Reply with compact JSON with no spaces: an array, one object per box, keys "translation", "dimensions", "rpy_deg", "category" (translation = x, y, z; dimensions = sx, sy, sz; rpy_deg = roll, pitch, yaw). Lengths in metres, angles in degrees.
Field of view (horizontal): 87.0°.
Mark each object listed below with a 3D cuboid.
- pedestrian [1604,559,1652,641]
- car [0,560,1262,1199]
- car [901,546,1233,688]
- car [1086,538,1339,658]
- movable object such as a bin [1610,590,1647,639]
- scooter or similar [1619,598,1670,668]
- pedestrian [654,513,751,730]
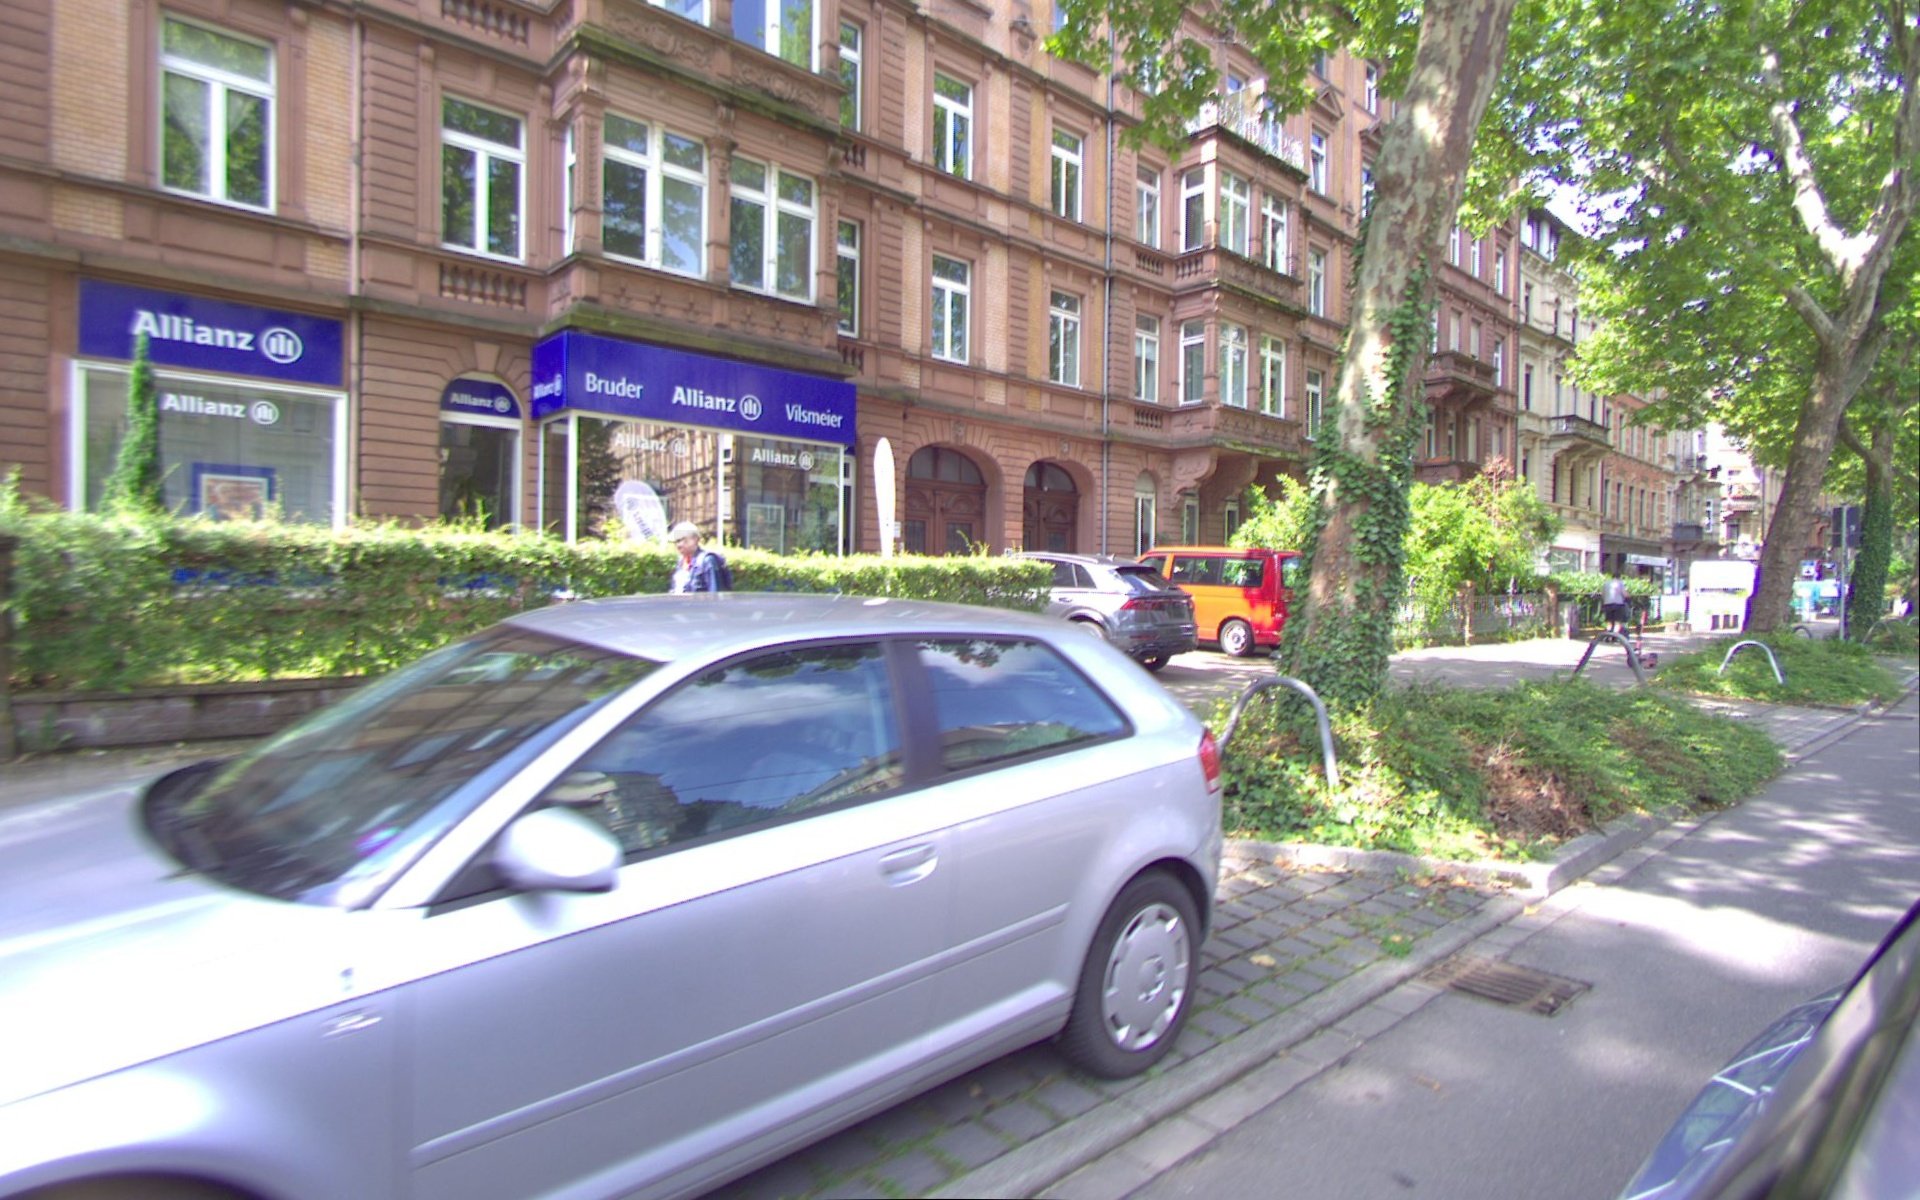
[{"translation":[17.374,-0.014,26.310],"dimensions":[0.764,2.038,1.102],"rpy_deg":[5,3,43],"category":"pedestrian"},{"translation":[-0.968,0.664,2.737],"dimensions":[3.792,1.461,1.680],"rpy_deg":[0,2,-42],"category":"car"},{"translation":[1.482,0.126,15.308],"dimensions":[4.717,1.804,1.976],"rpy_deg":[3,2,41],"category":"car"},{"translation":[4.805,-0.127,19.787],"dimensions":[1.949,1.962,4.407],"rpy_deg":[1,4,-41],"category":"car"},{"translation":[17.743,0.373,26.852],"dimensions":[0.607,1.224,1.042],"rpy_deg":[4,3,42],"category":"movable object such as a bin"},{"translation":[12.531,0.587,18.509],"dimensions":[1.300,1.226,0.467],"rpy_deg":[0,1,-42],"category":"scooter or similar"},{"translation":[-2.255,0.174,8.865],"dimensions":[0.619,1.808,0.565],"rpy_deg":[0,1,-42],"category":"pedestrian"}]
